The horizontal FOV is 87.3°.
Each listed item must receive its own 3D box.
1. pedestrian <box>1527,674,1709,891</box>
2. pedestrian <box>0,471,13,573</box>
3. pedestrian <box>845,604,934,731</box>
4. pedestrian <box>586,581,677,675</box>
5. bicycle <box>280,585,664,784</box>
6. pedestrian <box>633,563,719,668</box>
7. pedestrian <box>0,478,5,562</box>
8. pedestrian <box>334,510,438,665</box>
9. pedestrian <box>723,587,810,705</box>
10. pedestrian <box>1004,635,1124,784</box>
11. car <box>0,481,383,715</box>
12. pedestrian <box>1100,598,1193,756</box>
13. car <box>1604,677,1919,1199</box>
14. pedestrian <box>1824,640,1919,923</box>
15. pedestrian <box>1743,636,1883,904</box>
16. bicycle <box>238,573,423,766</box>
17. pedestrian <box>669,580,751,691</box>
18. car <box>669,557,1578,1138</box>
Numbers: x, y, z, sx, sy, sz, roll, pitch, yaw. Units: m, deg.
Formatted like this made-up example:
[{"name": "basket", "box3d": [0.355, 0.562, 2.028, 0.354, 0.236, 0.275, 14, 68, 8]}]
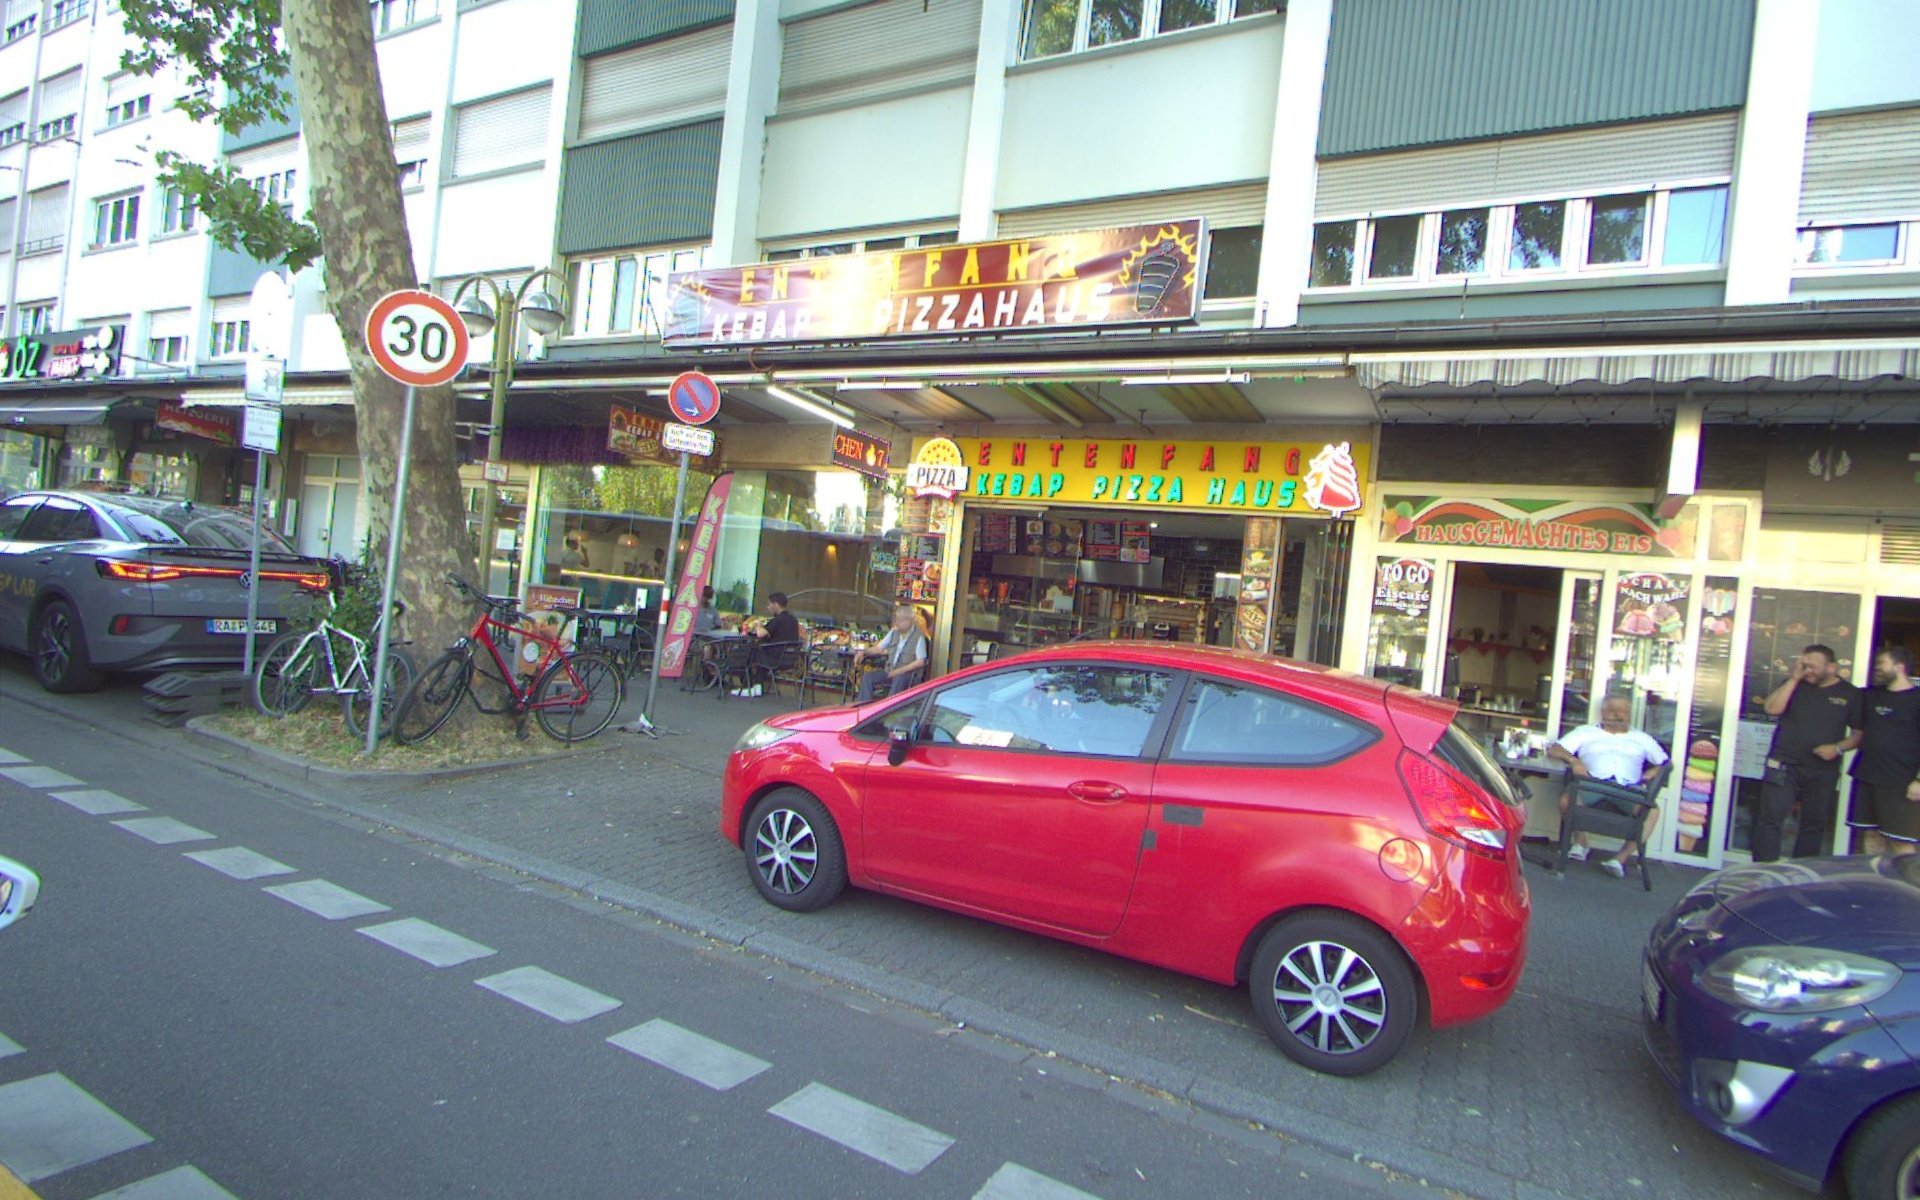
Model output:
[{"name": "pedestrian", "box3d": [4.850, 1.291, 7.507, 0.937, 1.352, 1.069, 7, 0, 30]}, {"name": "pedestrian", "box3d": [-19.641, -1.614, 20.124, 0.773, 2.038, 0.686, 7, 1, 32]}, {"name": "pedestrian", "box3d": [-0.748, 0.711, 10.759, 0.550, 1.252, 0.689, 7, 2, 29]}, {"name": "pedestrian", "box3d": [-4.299, 0.362, 13.235, 0.940, 1.094, 0.639, 7, 0, -9]}, {"name": "bicycle", "box3d": [-3.325, 0.521, 7.097, 0.547, 1.171, 2.377, 7, 4, 44]}, {"name": "pedestrian", "box3d": [-4.061, 0.218, 14.435, 0.958, 1.350, 0.830, 6, 0, -9]}, {"name": "pedestrian", "box3d": [-13.682, -0.878, 13.865, 0.661, 1.688, 0.593, 4, 2, -42]}, {"name": "pedestrian", "box3d": [-6.579, -0.139, 11.531, 0.783, 1.667, 0.583, 7, 1, 30]}, {"name": "pedestrian", "box3d": [-2.243, 0.529, 11.670, 0.679, 1.261, 0.558, 7, 2, 33]}, {"name": "pedestrian", "box3d": [0.968, 0.979, 9.311, 0.798, 1.225, 0.654, 7, 2, 28]}, {"name": "car", "box3d": [-7.653, -0.147, 9.249, 4.292, 1.603, 1.996, 7, 2, 27]}, {"name": "pedestrian", "box3d": [1.992, 0.813, 10.730, 0.589, 1.566, 0.700, 7, 0, 34]}, {"name": "car", "box3d": [4.094, 1.240, 2.861, 3.549, 1.488, 1.767, 6, 3, 29]}, {"name": "pedestrian", "box3d": [6.381, 1.205, 6.823, 0.391, 1.805, 0.552, 4, 2, -29]}, {"name": "pedestrian", "box3d": [6.082, 1.179, 7.199, 0.547, 1.802, 0.395, 6, 2, 29]}, {"name": "bicycle", "box3d": [-4.547, 0.467, 7.235, 1.421, 1.169, 0.553, 6, 0, 36]}, {"name": "pedestrian", "box3d": [-3.041, 0.430, 12.237, 0.680, 1.261, 0.557, 7, 2, 38]}, {"name": "car", "box3d": [0.665, 0.790, 4.928, 3.757, 1.617, 1.783, 6, 3, 28]}]
